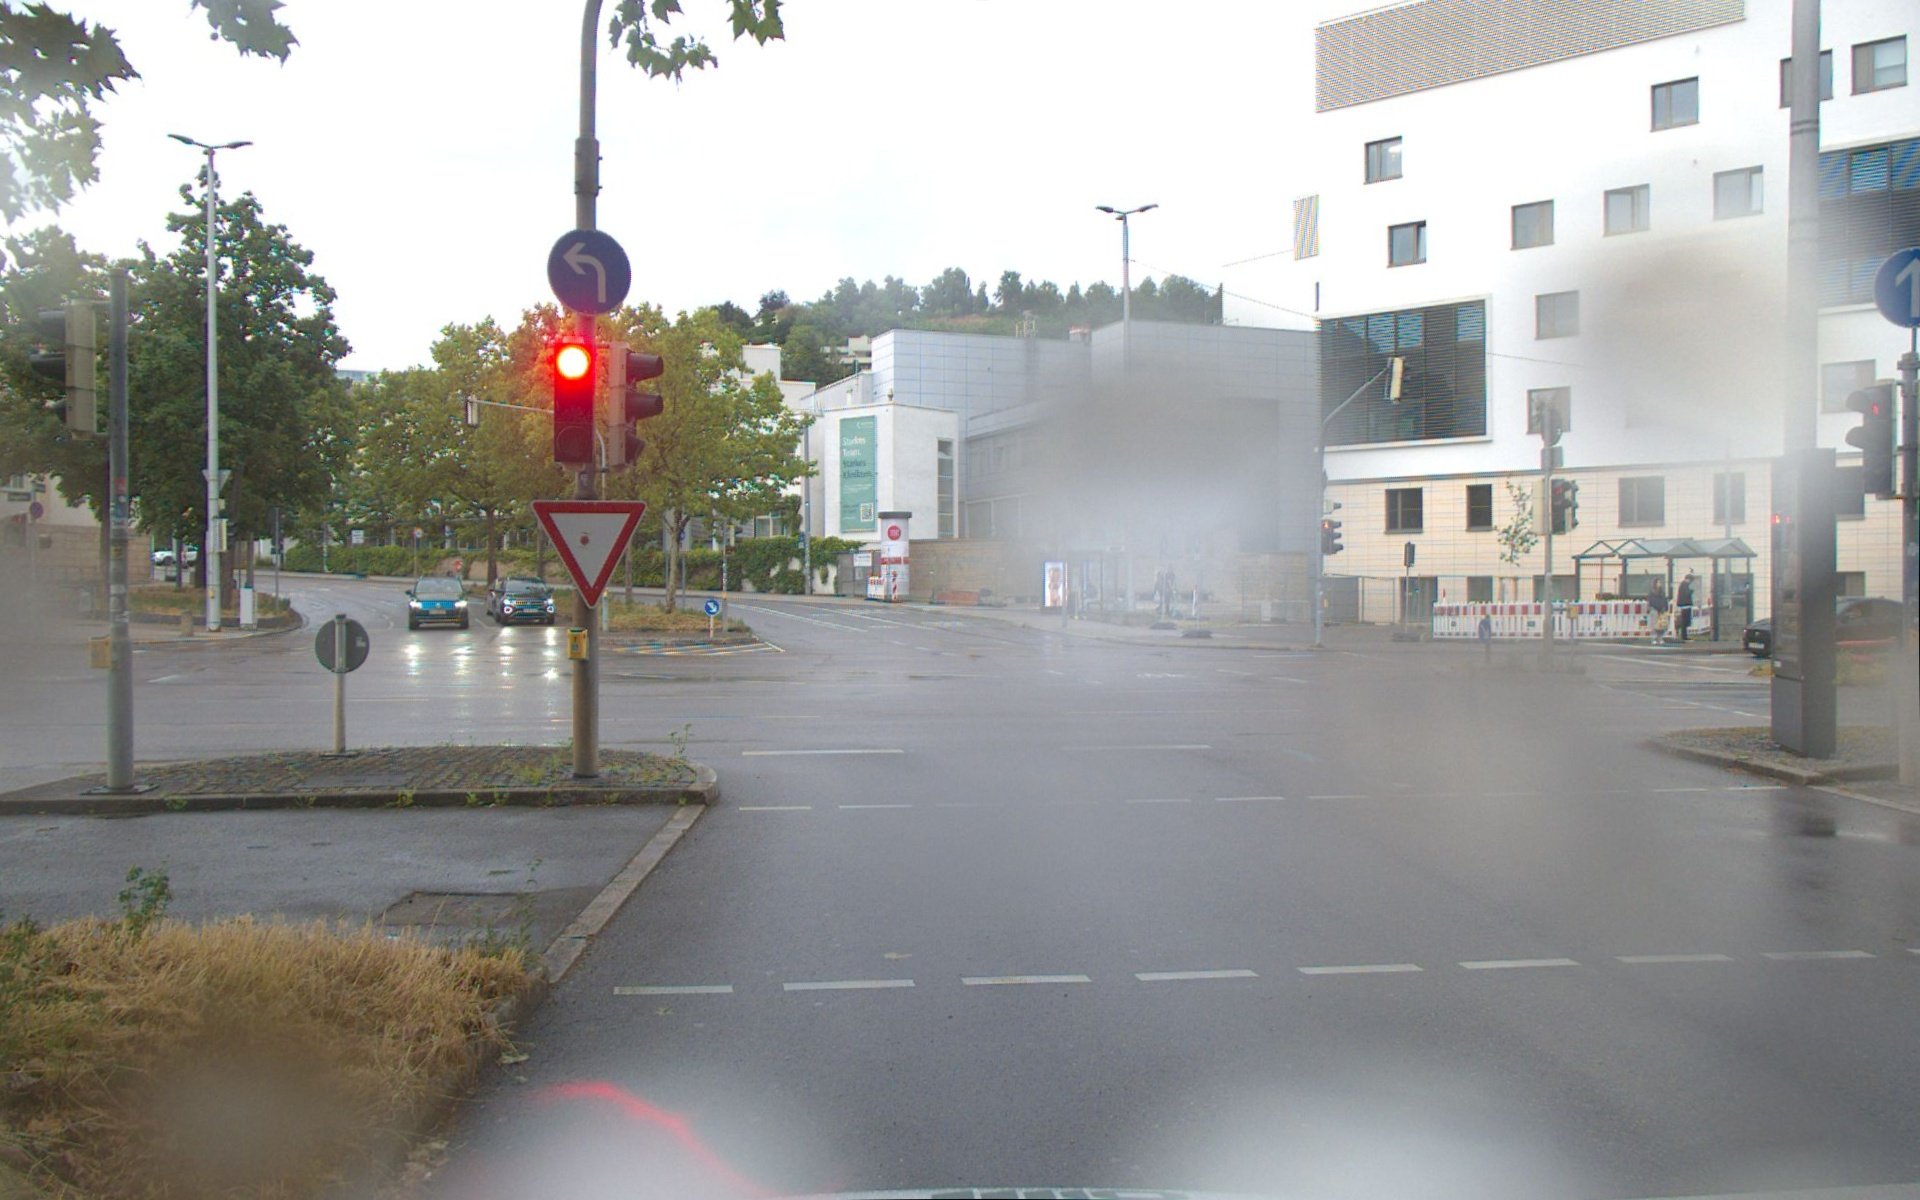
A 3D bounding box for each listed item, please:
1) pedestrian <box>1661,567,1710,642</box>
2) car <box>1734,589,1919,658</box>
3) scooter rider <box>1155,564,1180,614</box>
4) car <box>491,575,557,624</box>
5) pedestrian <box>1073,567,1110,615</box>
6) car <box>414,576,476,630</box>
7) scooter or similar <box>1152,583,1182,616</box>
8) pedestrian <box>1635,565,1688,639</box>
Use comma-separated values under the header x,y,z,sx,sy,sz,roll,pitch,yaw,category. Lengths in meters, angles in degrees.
x,y,z,sx,sy,sz,roll,pitch,yaw,category
19.540,0.122,44.580,0.980,1.969,0.955,1,-1,9,pedestrian
20.259,0.541,38.412,3.921,1.469,1.790,2,0,-16,car
8.025,-0.416,63.977,0.713,1.916,0.628,2,-1,-21,scooter rider
-15.185,-0.042,57.478,1.764,1.612,3.973,0,1,-22,car
4.913,-0.325,61.645,1.232,1.749,1.016,1,-1,-2,pedestrian
-16.664,0.051,53.507,1.839,1.591,4.255,-1,2,-18,car
7.996,-0.014,64.024,0.582,1.260,1.305,2,-1,-22,scooter or similar
18.044,0.050,42.564,0.934,1.872,0.821,2,-1,-12,pedestrian
